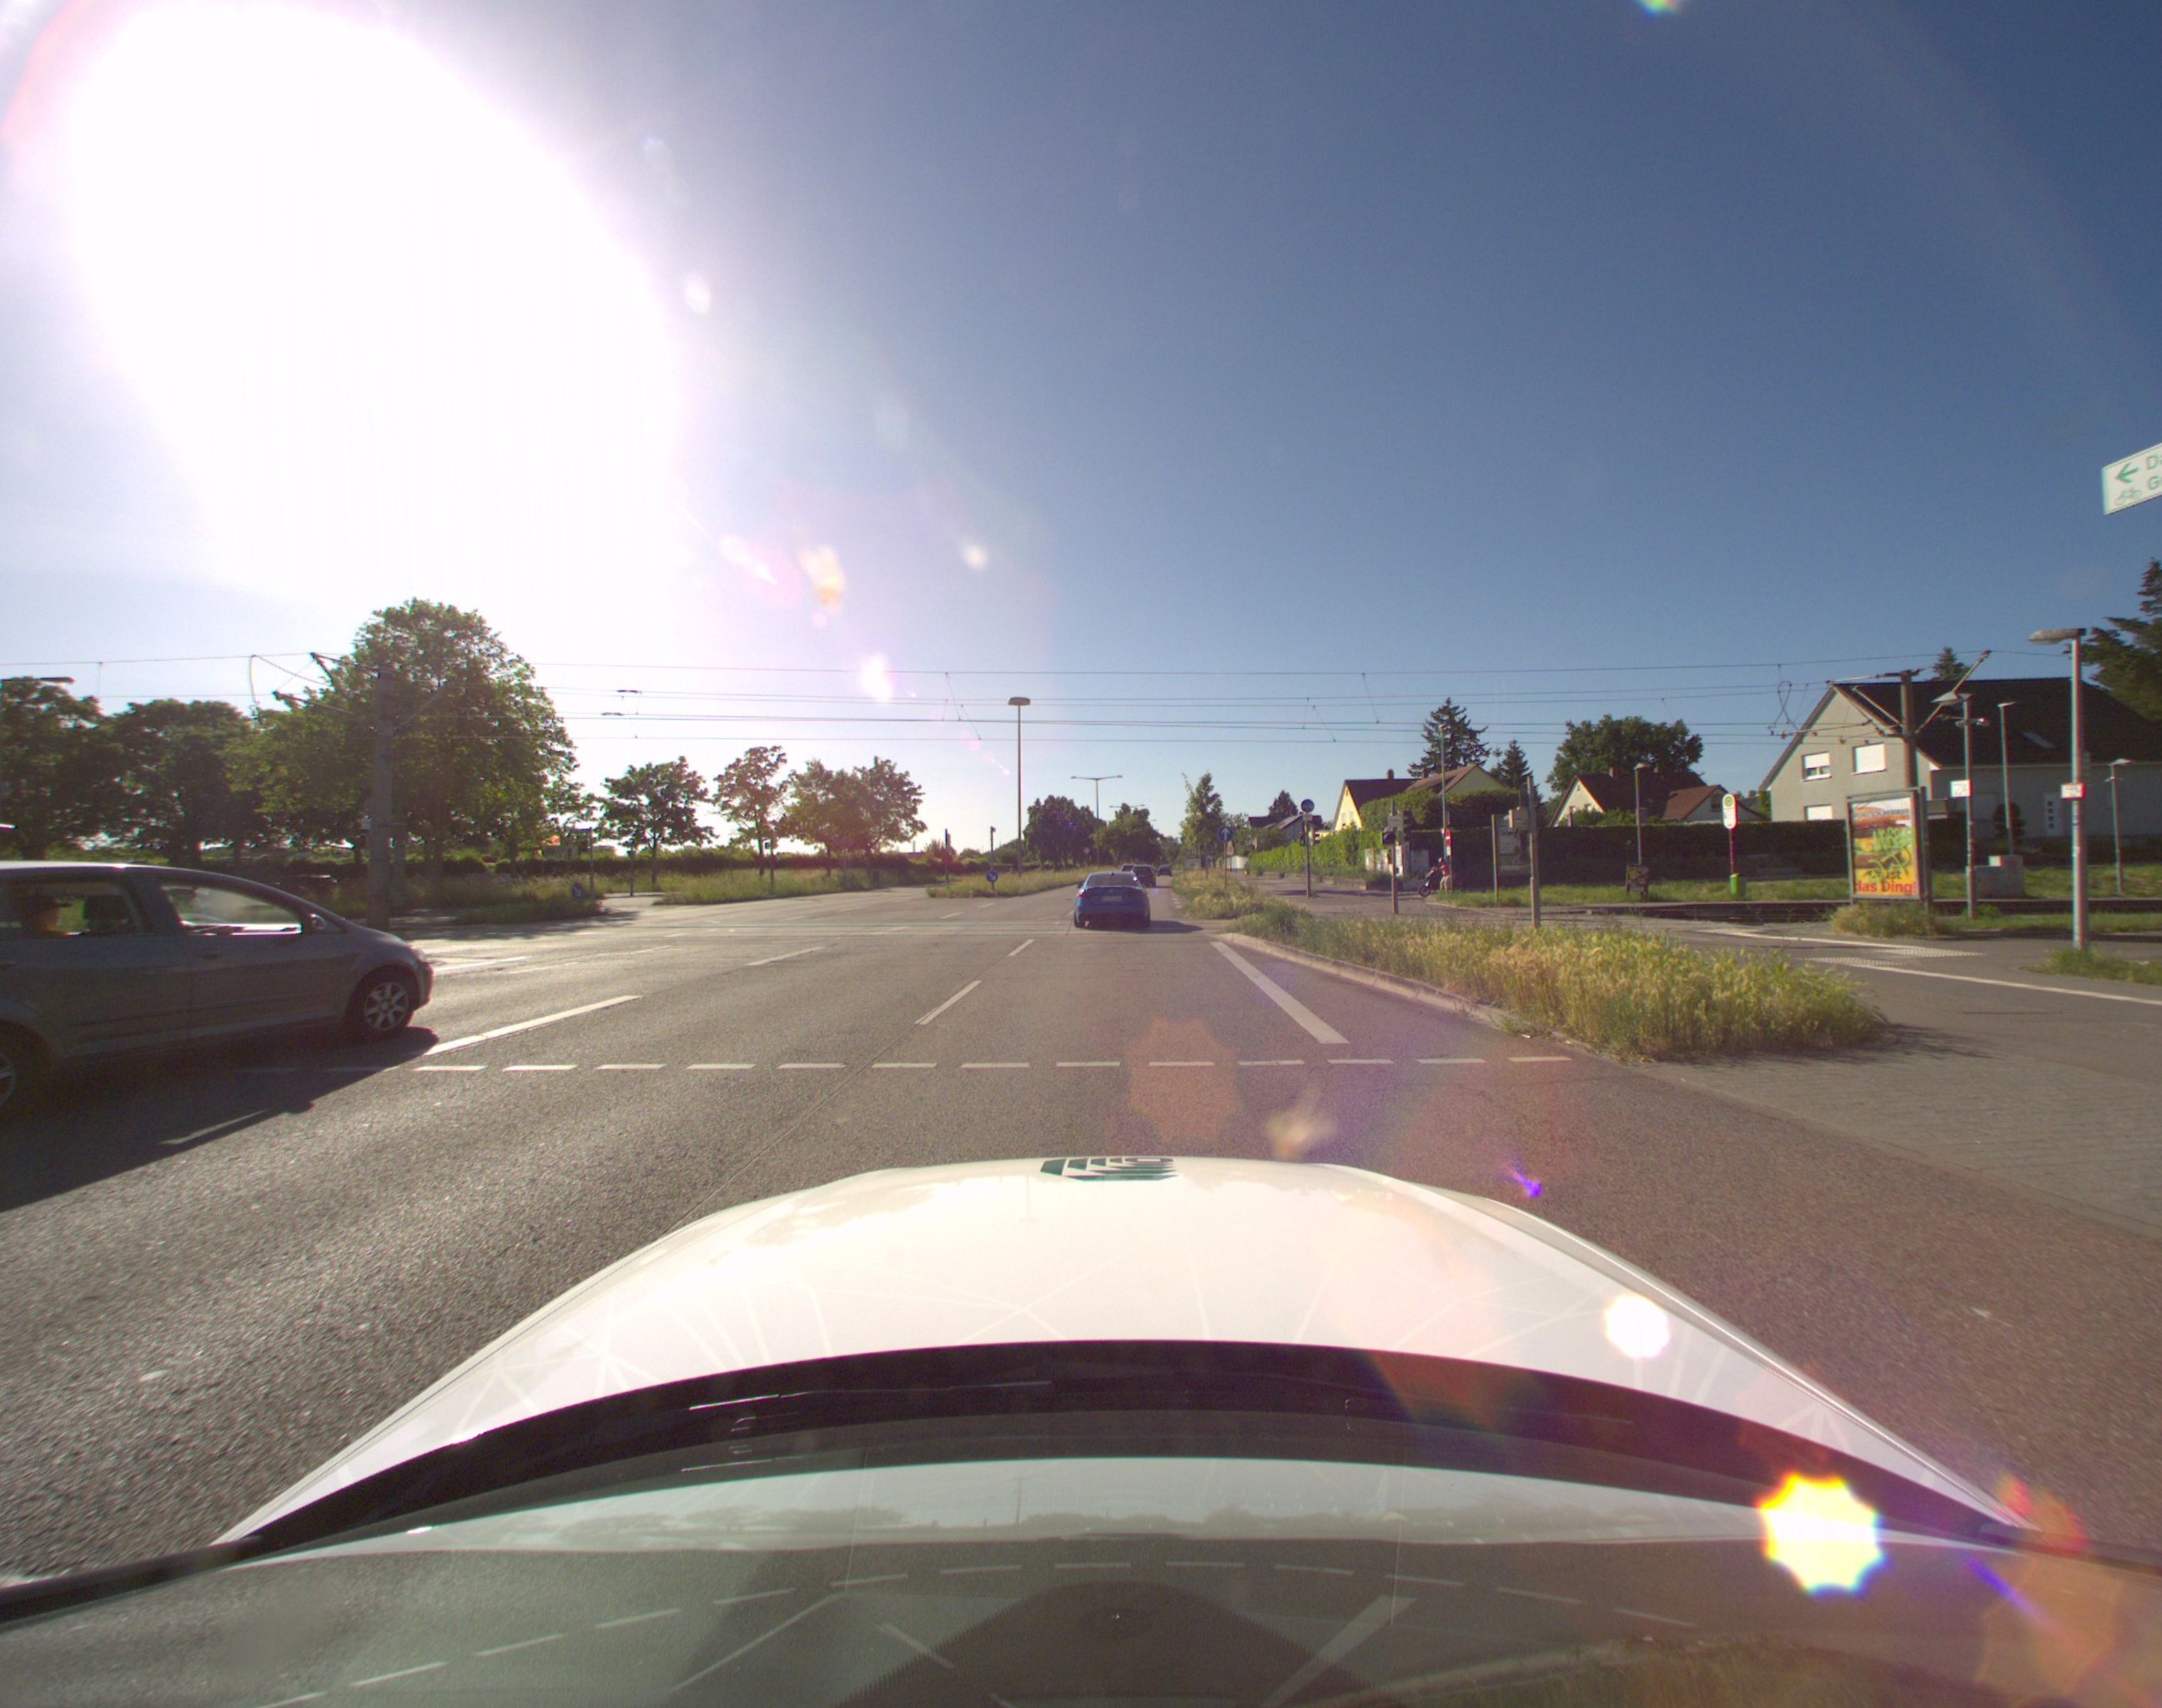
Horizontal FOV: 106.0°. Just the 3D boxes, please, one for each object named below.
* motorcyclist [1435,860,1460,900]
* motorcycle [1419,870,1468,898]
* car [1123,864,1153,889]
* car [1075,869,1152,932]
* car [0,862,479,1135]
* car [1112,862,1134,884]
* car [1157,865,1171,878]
[{"bbox_3d":[14.790,1.045,32.892,0.689,1.558,0.701,-2,-1,6],"label":"motorcyclist"},{"bbox_3d":[14.605,1.218,32.827,1.747,1.071,0.452,-2,-1,6],"label":"motorcycle"},{"bbox_3d":[3.858,1.496,55.323,1.907,1.579,4.186,-1,-1,4],"label":"car"},{"bbox_3d":[0.785,1.147,21.506,1.832,1.474,4.183,-1,-1,0],"label":"car"},{"bbox_3d":[-7.092,0.875,6.037,1.834,1.571,4.389,-2,-1,2],"label":"car"},{"bbox_3d":[4.142,1.839,79.498,1.783,2.014,4.008,-1,-1,7],"label":"car"},{"bbox_3d":[10.812,2.247,105.749,1.652,1.579,3.816,0,-1,7],"label":"car"}]
